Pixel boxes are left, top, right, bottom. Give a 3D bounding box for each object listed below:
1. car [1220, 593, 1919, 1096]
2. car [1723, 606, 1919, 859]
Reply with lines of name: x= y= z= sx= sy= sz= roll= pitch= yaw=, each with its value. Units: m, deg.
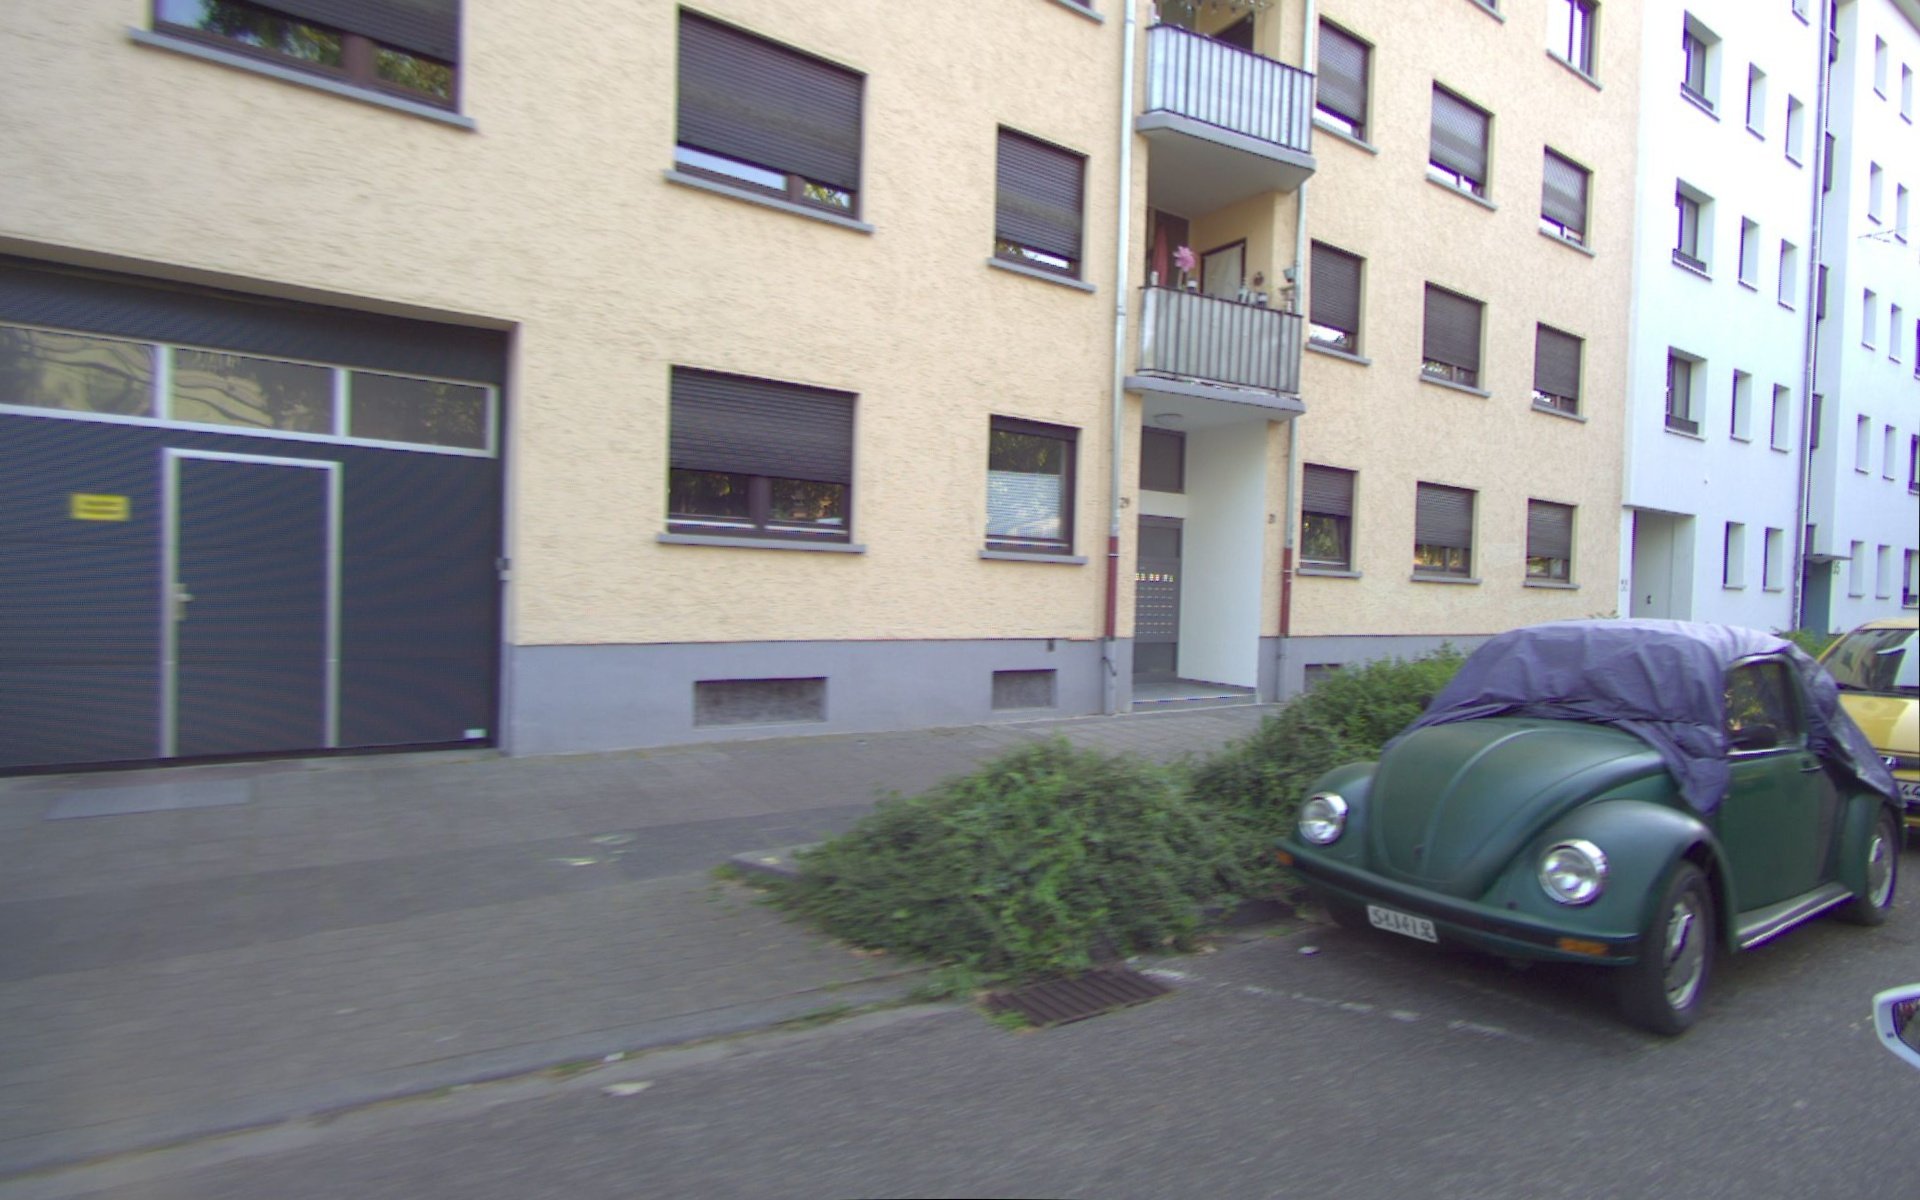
car: x=3.156 y=0.795 z=4.768 sx=3.740 sy=1.538 sz=1.558 roll=1 pitch=1 yaw=-32
car: x=7.432 y=0.876 z=7.444 sx=3.734 sy=1.545 sz=1.692 roll=1 pitch=1 yaw=-34
